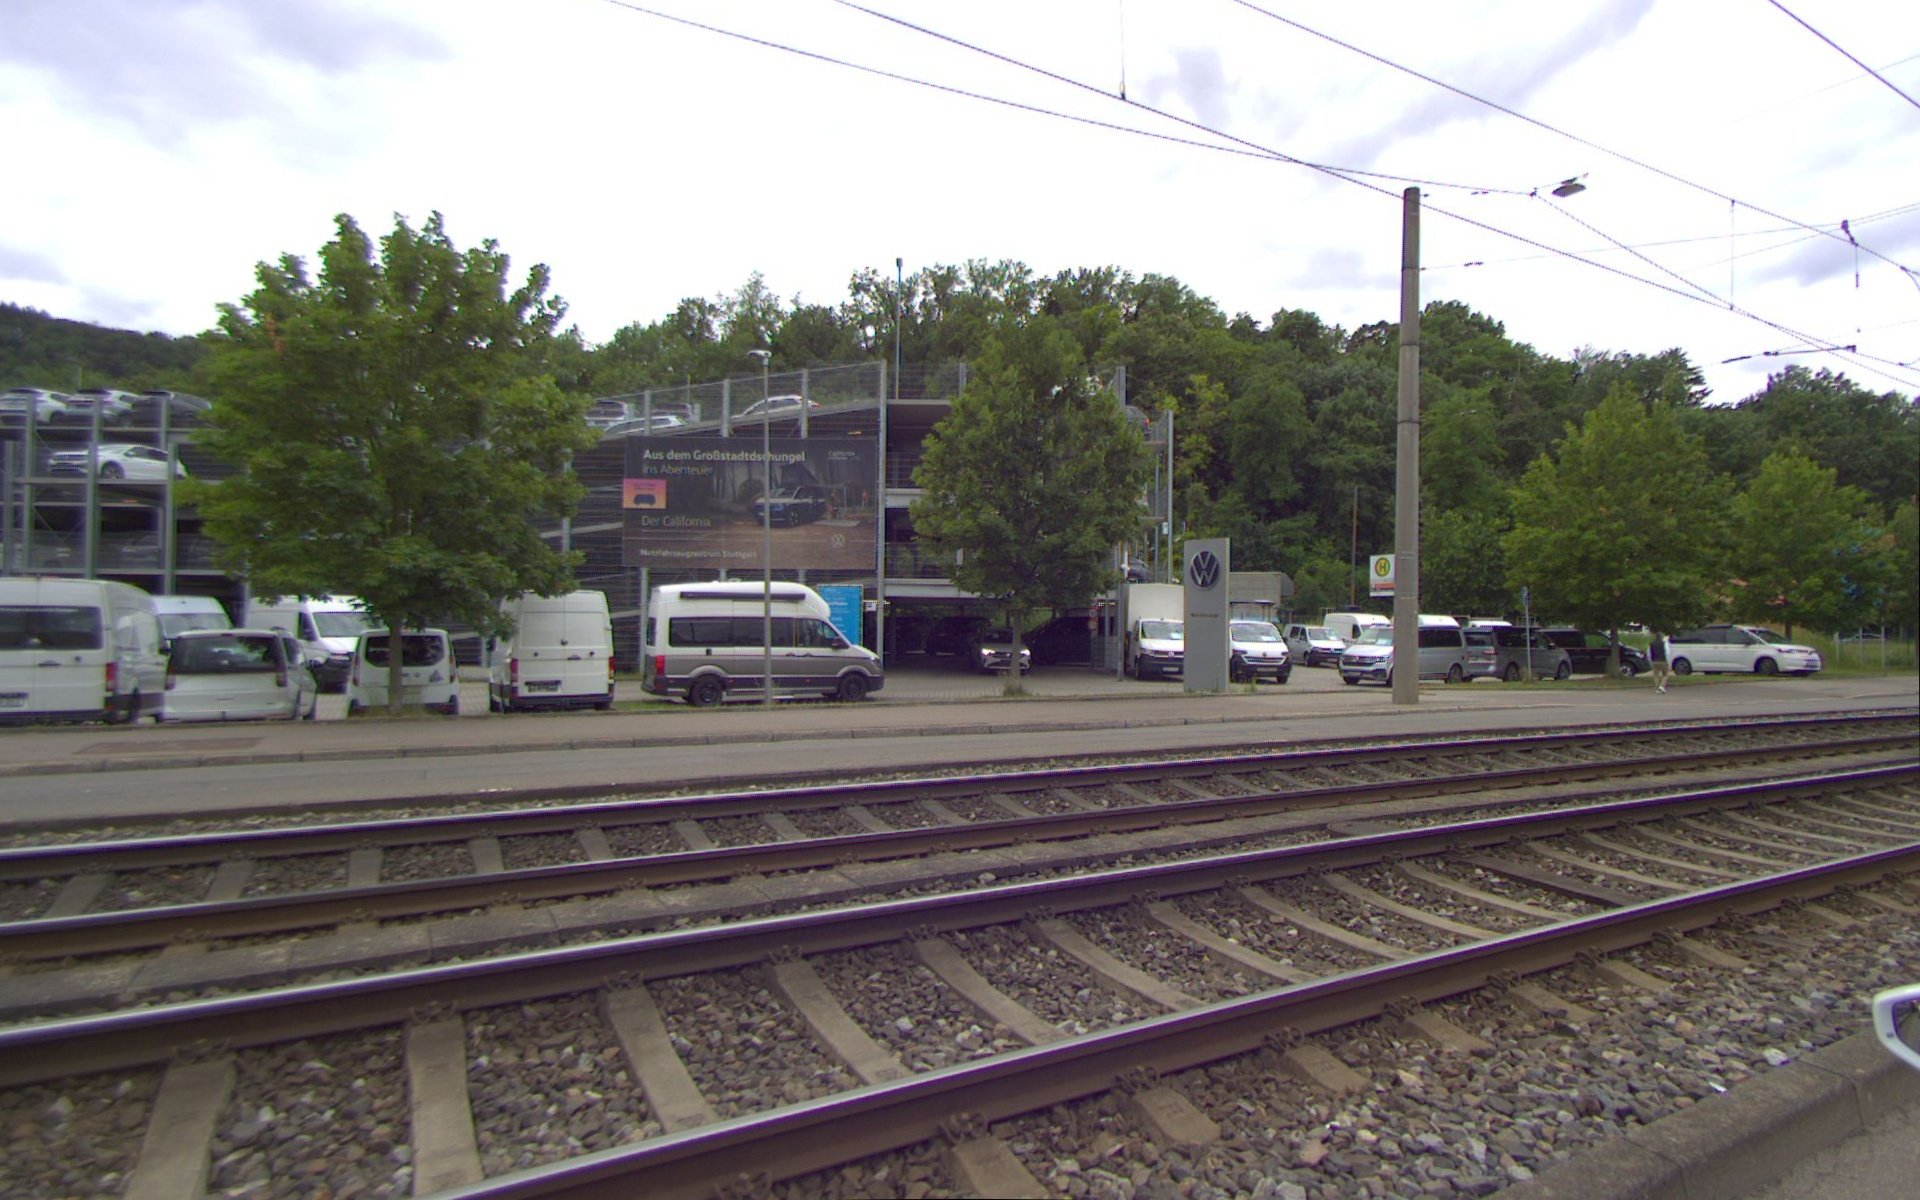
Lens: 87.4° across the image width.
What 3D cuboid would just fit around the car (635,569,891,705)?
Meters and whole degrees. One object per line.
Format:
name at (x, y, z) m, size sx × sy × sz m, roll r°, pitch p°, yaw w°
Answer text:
car at (-4.824, 0.921, 24.873) m, size 5.859 × 3.059 × 2.101 m, roll 1°, pitch -2°, yaw -27°

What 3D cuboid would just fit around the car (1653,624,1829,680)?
car at (29.679, 1.936, 38.401) m, size 2.130 × 1.913 × 5.057 m, roll 2°, pitch -1°, yaw -15°

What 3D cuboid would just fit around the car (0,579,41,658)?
car at (-25.651, 0.452, 25.555) m, size 1.974 × 2.040 × 4.828 m, roll 1°, pitch -2°, yaw -26°

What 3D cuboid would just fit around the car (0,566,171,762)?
car at (-14.782, 0.972, 16.749) m, size 1.982 × 2.856 × 4.343 m, roll 1°, pitch -1°, yaw -31°

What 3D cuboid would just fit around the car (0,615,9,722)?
car at (-17.321, 1.191, 16.185) m, size 1.982 × 1.936 × 4.343 m, roll 1°, pitch -2°, yaw -31°

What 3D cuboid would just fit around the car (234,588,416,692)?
car at (-17.712, 1.040, 27.926) m, size 5.851 × 2.636 × 1.999 m, roll 0°, pitch -1°, yaw 33°

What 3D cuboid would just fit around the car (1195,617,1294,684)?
car at (9.426, 1.643, 33.688) m, size 1.961 × 2.040 × 4.731 m, roll 1°, pitch -2°, yaw -1°

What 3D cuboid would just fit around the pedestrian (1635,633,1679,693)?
pedestrian at (20.323, 1.823, 29.295) m, size 1.032 × 1.678 × 0.713 m, roll 1°, pitch 1°, yaw -36°

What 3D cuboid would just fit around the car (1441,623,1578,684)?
car at (19.677, 1.875, 35.948) m, size 5.069 × 2.040 × 1.984 m, roll 2°, pitch -2°, yaw -30°

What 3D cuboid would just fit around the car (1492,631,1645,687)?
car at (24.045, 2.296, 39.934) m, size 4.977 × 2.040 × 2.165 m, roll 0°, pitch -2°, yaw 26°

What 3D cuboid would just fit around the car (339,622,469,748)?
car at (-10.881, 1.522, 19.547) m, size 1.982 × 2.133 × 4.343 m, roll 1°, pitch -2°, yaw -31°

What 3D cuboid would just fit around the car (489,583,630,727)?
car at (-8.653, 1.076, 21.352) m, size 2.218 × 2.636 × 5.452 m, roll 1°, pitch -1°, yaw -28°

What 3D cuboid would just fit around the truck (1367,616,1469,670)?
truck at (23.642, 2.205, 52.131) m, size 2.421 × 2.622 × 5.777 m, roll 1°, pitch -2°, yaw -3°

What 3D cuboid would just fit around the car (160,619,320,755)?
car at (-12.810, 1.426, 18.140) m, size 1.982 × 2.133 × 4.343 m, roll 1°, pitch -2°, yaw -31°

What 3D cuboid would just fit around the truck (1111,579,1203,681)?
truck at (6.553, 1.010, 34.071) m, size 2.077 × 3.125 × 5.941 m, roll 1°, pitch -2°, yaw 1°

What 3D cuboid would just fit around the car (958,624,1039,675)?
car at (1.237, 1.666, 34.590) m, size 1.964 × 1.639 × 4.128 m, roll 1°, pitch -2°, yaw -10°

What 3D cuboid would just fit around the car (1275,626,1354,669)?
car at (17.477, 2.318, 49.748) m, size 1.964 × 2.040 × 3.993 m, roll 1°, pitch -2°, yaw -11°

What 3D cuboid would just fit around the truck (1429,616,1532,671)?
truck at (26.409, 2.176, 51.208) m, size 2.421 × 2.622 × 5.071 m, roll 1°, pitch -2°, yaw -3°

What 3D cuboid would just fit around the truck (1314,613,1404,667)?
truck at (20.573, 2.036, 52.064) m, size 2.421 × 2.622 × 5.071 m, roll 1°, pitch -2°, yaw -3°

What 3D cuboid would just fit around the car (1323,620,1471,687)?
car at (14.317, 1.719, 32.821) m, size 4.861 × 2.040 × 1.984 m, roll 2°, pitch -2°, yaw -30°
